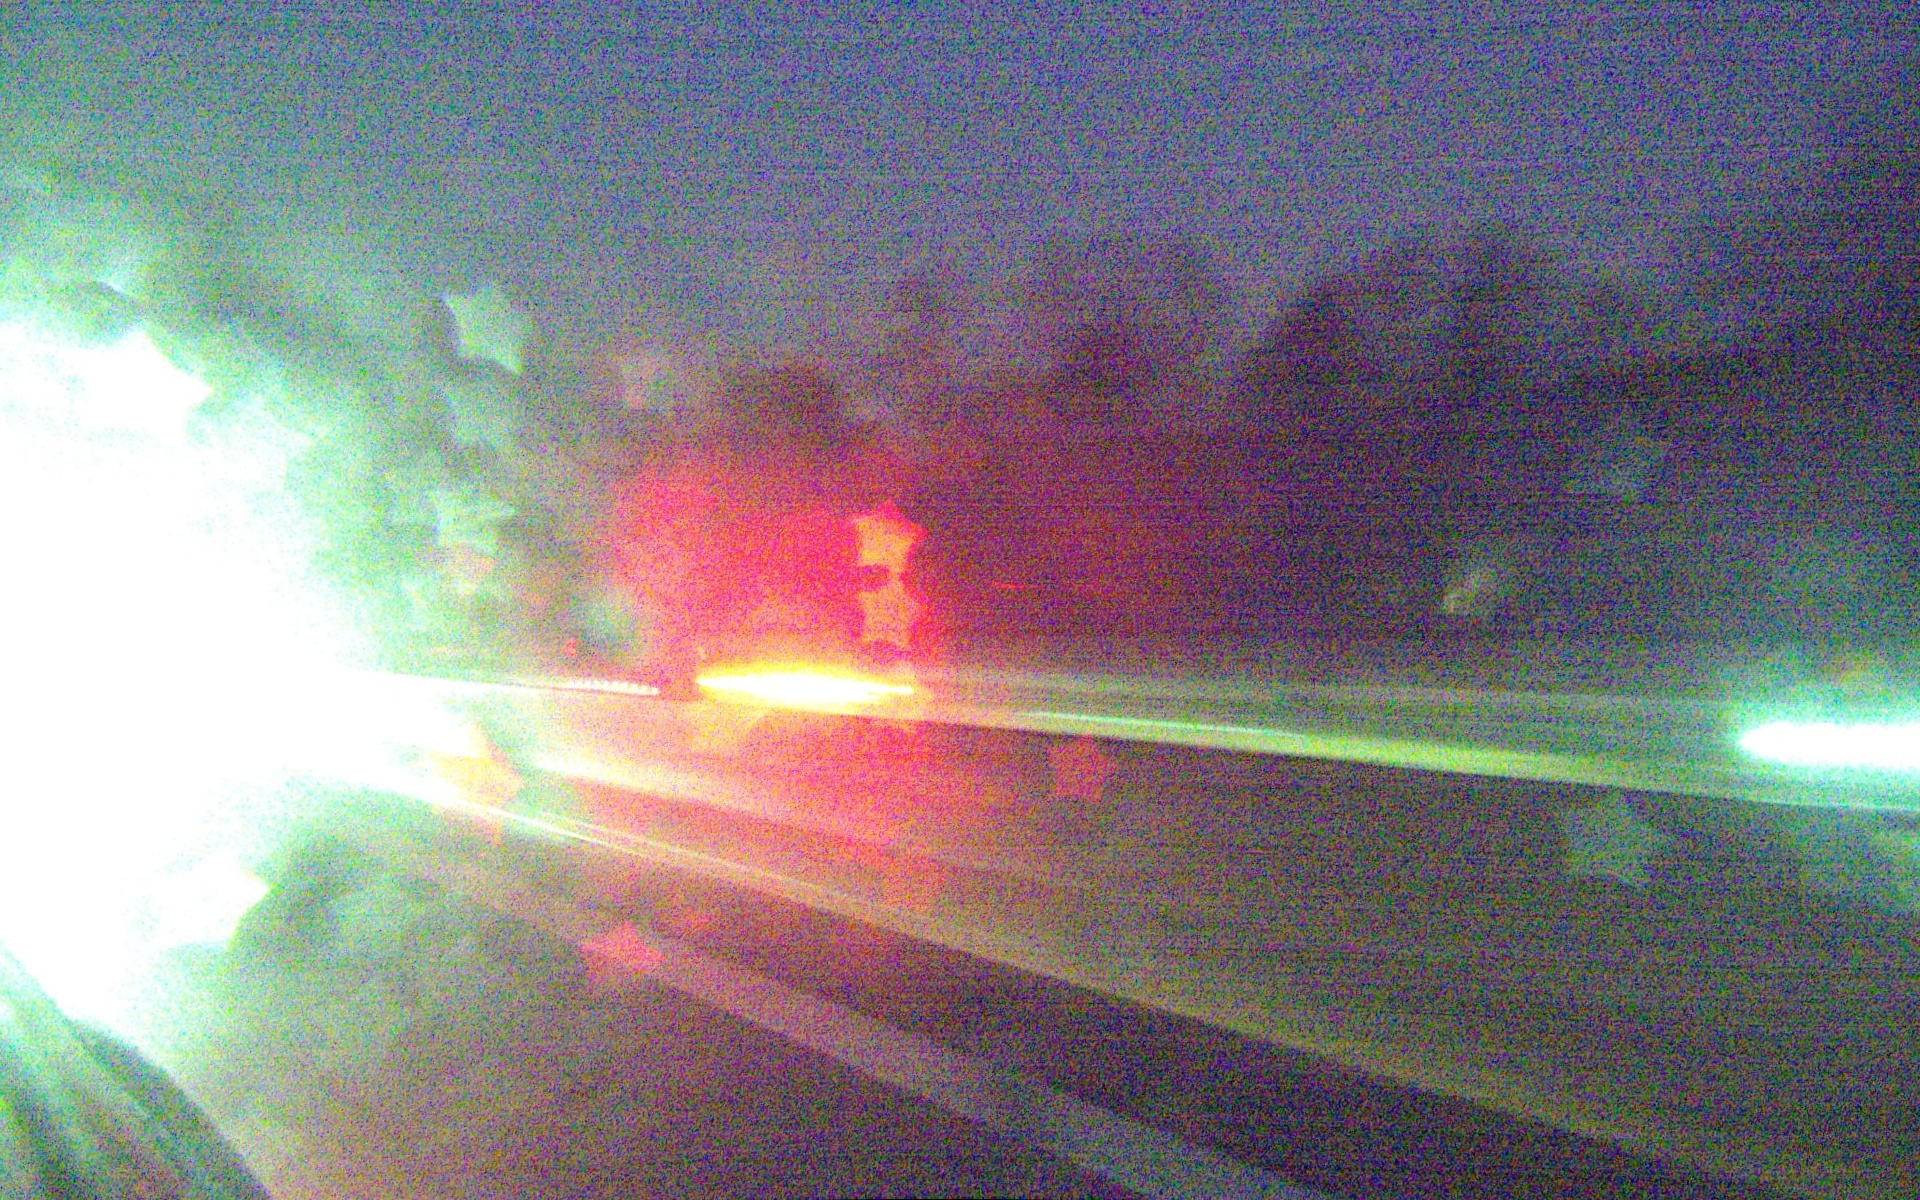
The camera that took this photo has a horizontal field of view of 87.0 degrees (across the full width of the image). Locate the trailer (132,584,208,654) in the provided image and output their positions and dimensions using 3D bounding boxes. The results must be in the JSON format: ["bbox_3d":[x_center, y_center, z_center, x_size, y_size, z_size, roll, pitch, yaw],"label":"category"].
[{"bbox_3d":[-58.474,1.455,74.814,10.163,4.860,2.381,-2,-1,41],"label":"trailer"}]

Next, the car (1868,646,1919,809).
[{"bbox_3d":[12.926,1.432,10.600,4.955,1.787,1.973,-1,-2,40],"label":"car"}]

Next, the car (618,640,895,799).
[{"bbox_3d":[-3.254,1.728,15.731,4.292,2.029,1.973,-3,-2,41],"label":"car"}]
